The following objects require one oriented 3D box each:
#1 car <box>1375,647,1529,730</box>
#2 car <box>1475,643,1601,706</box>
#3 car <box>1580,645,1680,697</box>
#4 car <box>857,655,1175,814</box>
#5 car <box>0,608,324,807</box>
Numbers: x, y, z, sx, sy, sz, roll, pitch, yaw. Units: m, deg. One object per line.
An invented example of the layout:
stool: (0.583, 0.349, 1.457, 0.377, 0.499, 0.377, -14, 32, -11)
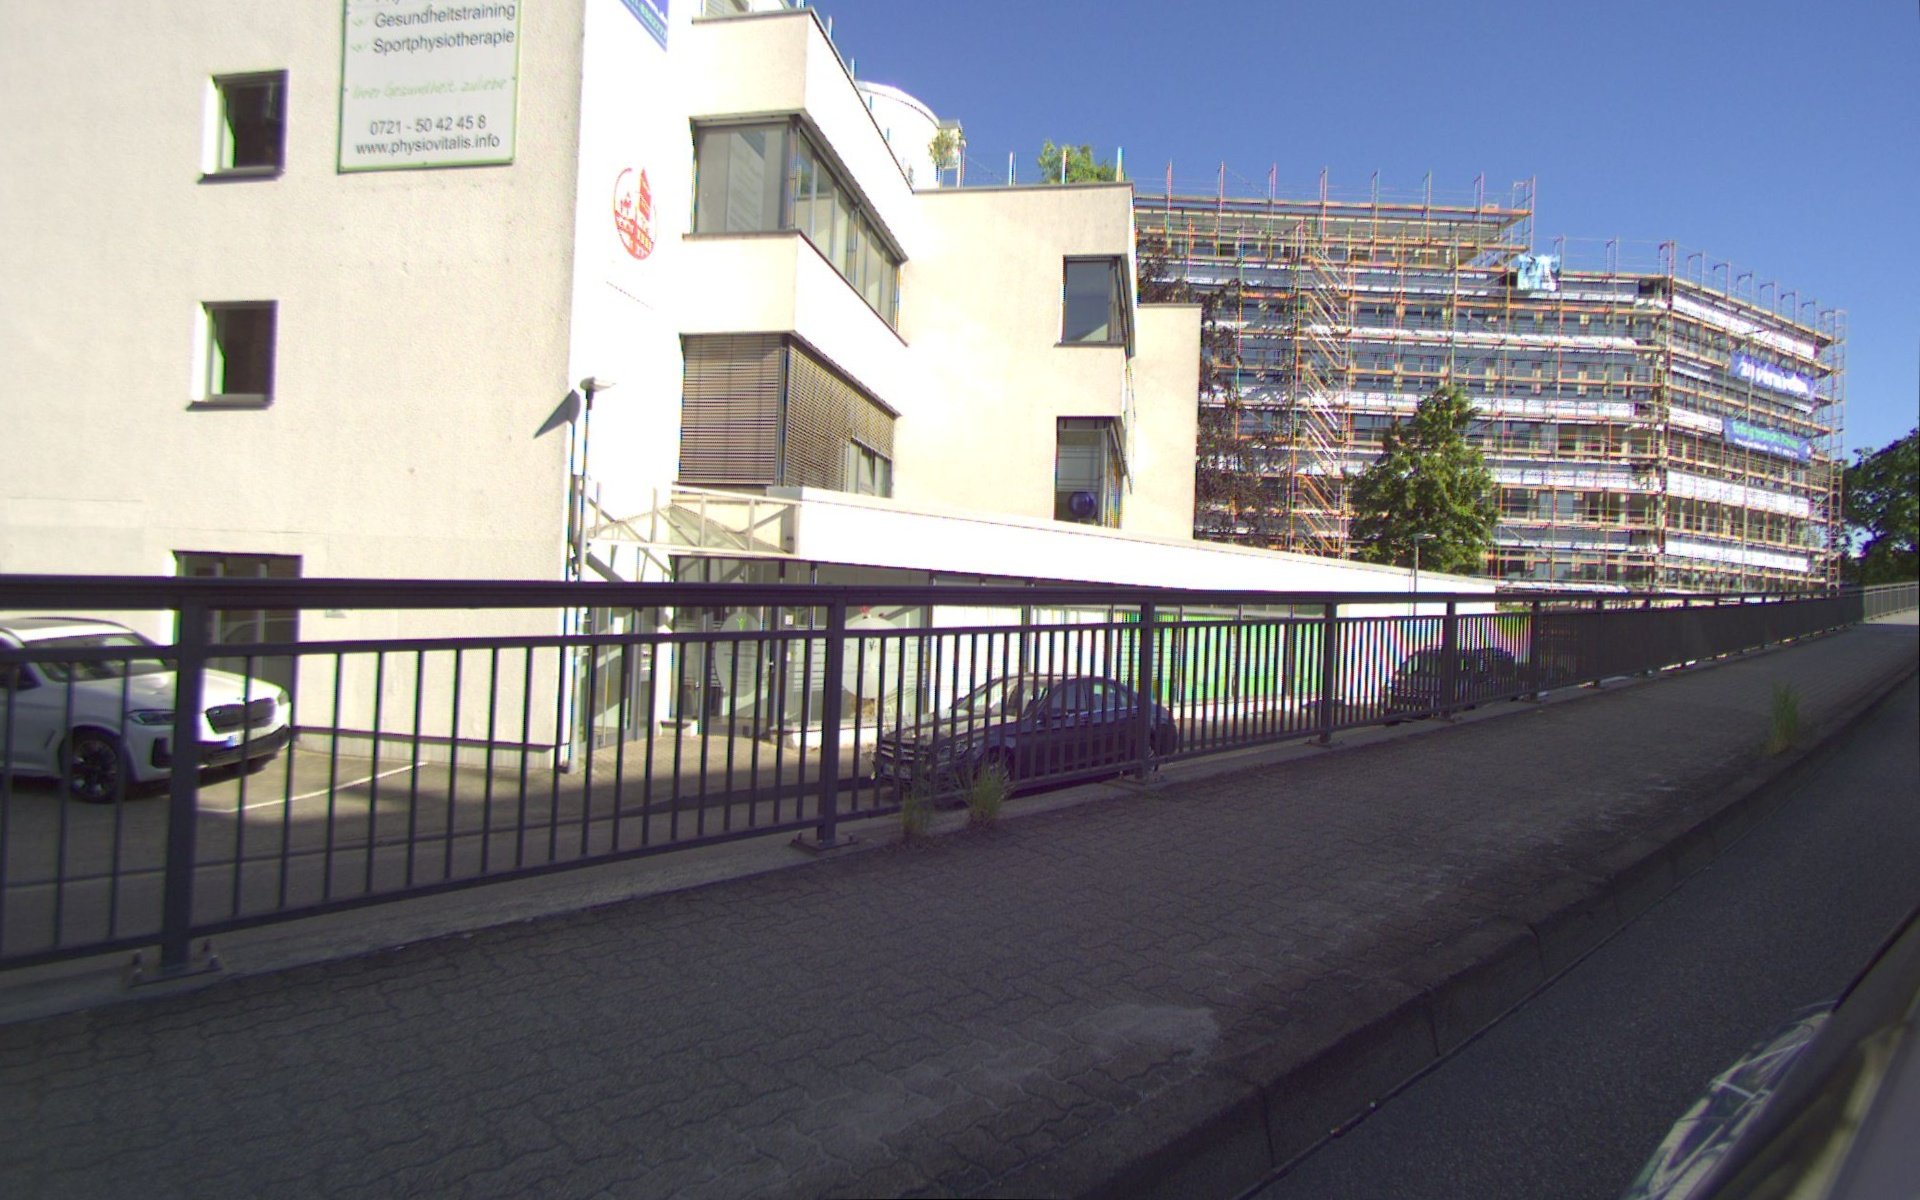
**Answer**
car: (10.861, 1.863, 22.225, 3.931, 1.541, 1.723, 1, -1, -42)
car: (14.982, 1.870, 26.156, 3.931, 1.410, 1.723, 1, -1, -42)
car: (21.088, 2.175, 31.797, 3.931, 1.410, 1.723, 1, -1, -42)
car: (0.812, 1.549, 12.804, 3.929, 1.541, 1.724, 1, -1, -41)
car: (-9.522, 1.025, 10.834, 4.455, 1.707, 1.840, 2, 0, 9)
